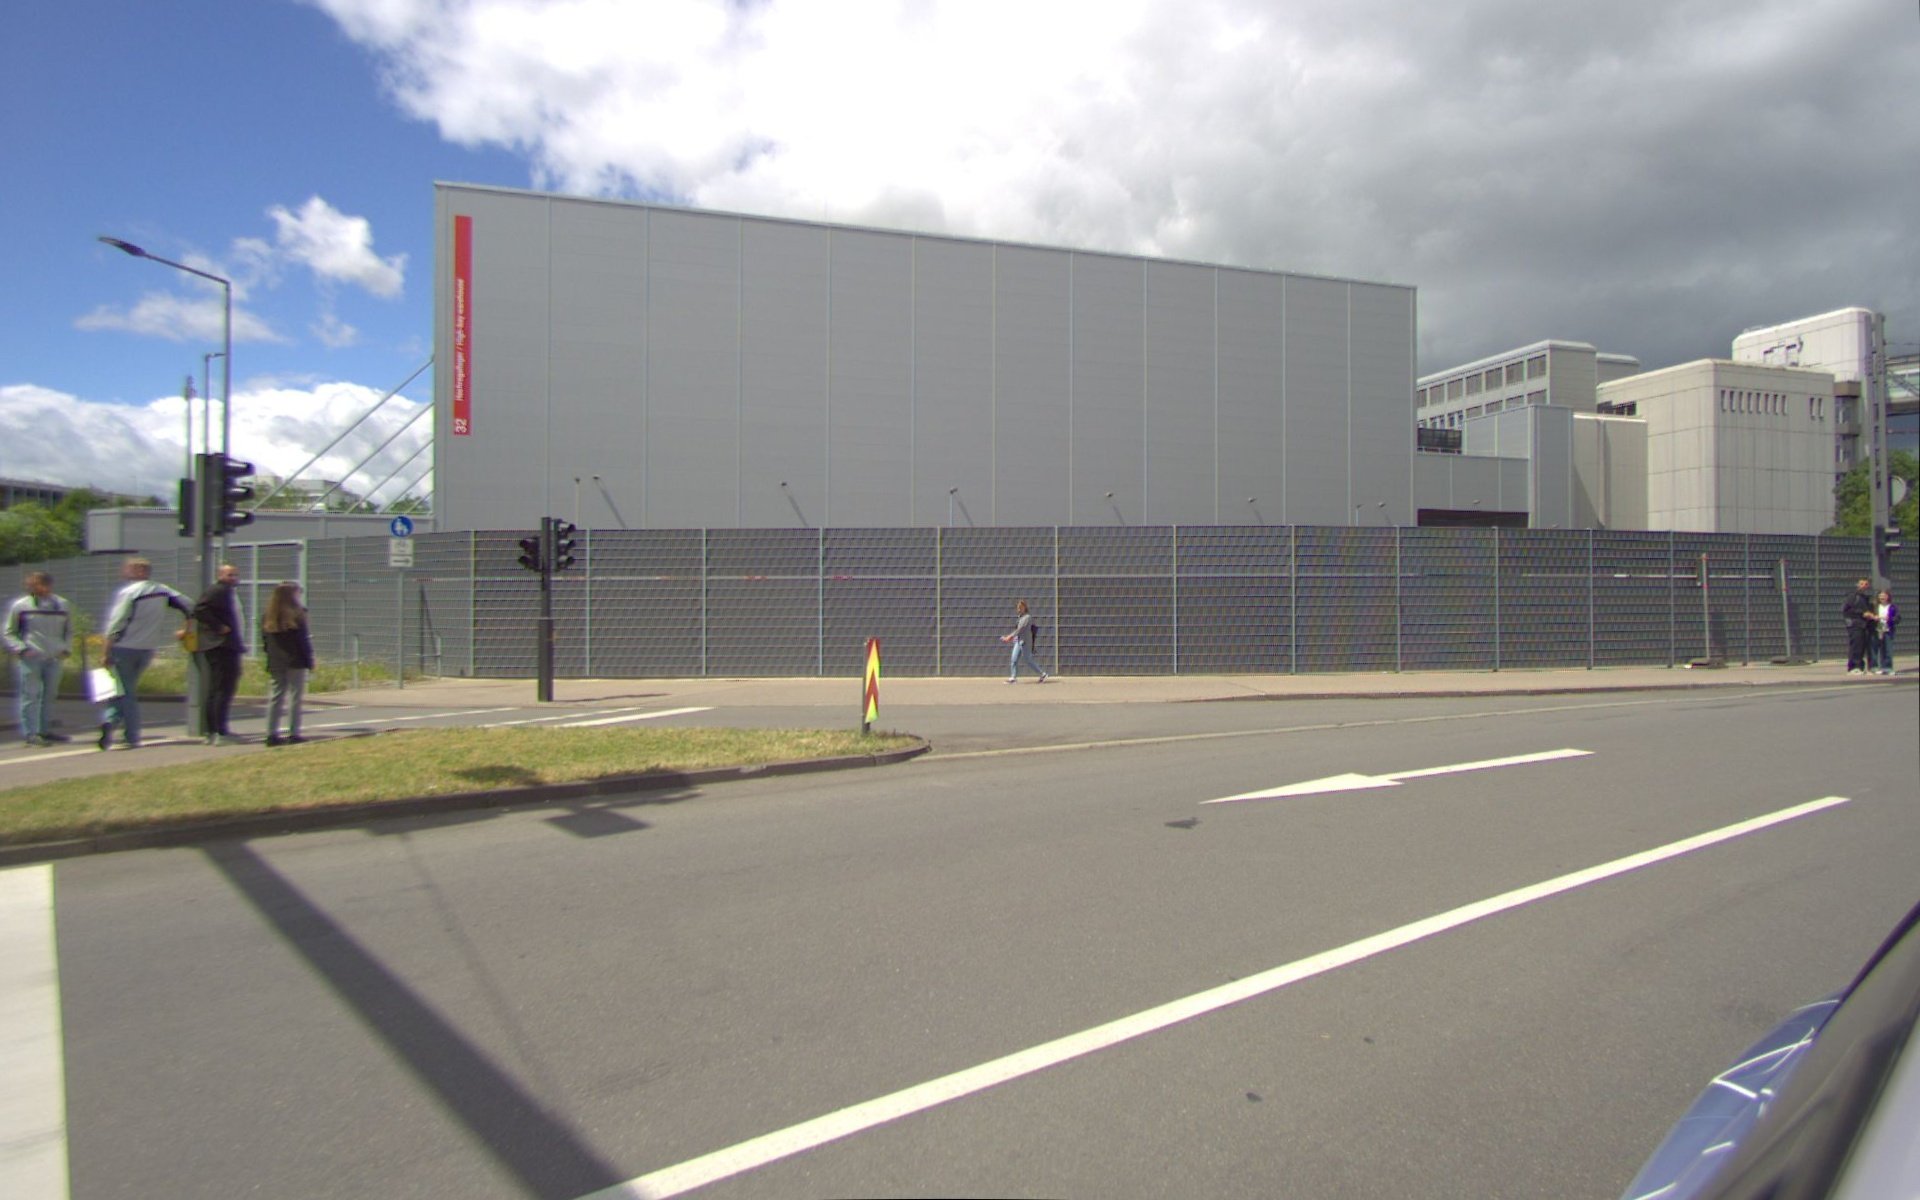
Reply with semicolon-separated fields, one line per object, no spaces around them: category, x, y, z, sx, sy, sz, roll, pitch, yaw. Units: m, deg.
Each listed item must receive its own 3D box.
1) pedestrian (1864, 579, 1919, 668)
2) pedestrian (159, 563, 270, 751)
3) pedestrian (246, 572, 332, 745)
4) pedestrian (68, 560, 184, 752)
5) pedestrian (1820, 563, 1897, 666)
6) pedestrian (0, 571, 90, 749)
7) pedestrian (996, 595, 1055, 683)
pedestrian;17.669;0.437;19.131;0.652;1.636;0.464;-2;-1;8
pedestrian;-7.545;0.560;10.263;0.608;1.817;0.672;-2;-1;1
pedestrian;-6.722;0.562;10.159;0.659;1.659;0.620;-1;-1;-30
pedestrian;-8.442;0.551;10.264;0.608;1.870;0.673;-2;-1;-1
pedestrian;17.016;0.276;19.188;0.780;1.890;0.660;-2;-1;8
pedestrian;-9.572;0.607;10.465;0.608;1.782;0.607;-2;-1;0
pedestrian;1.235;0.721;19.245;0.902;1.606;0.696;-2;-1;-13
